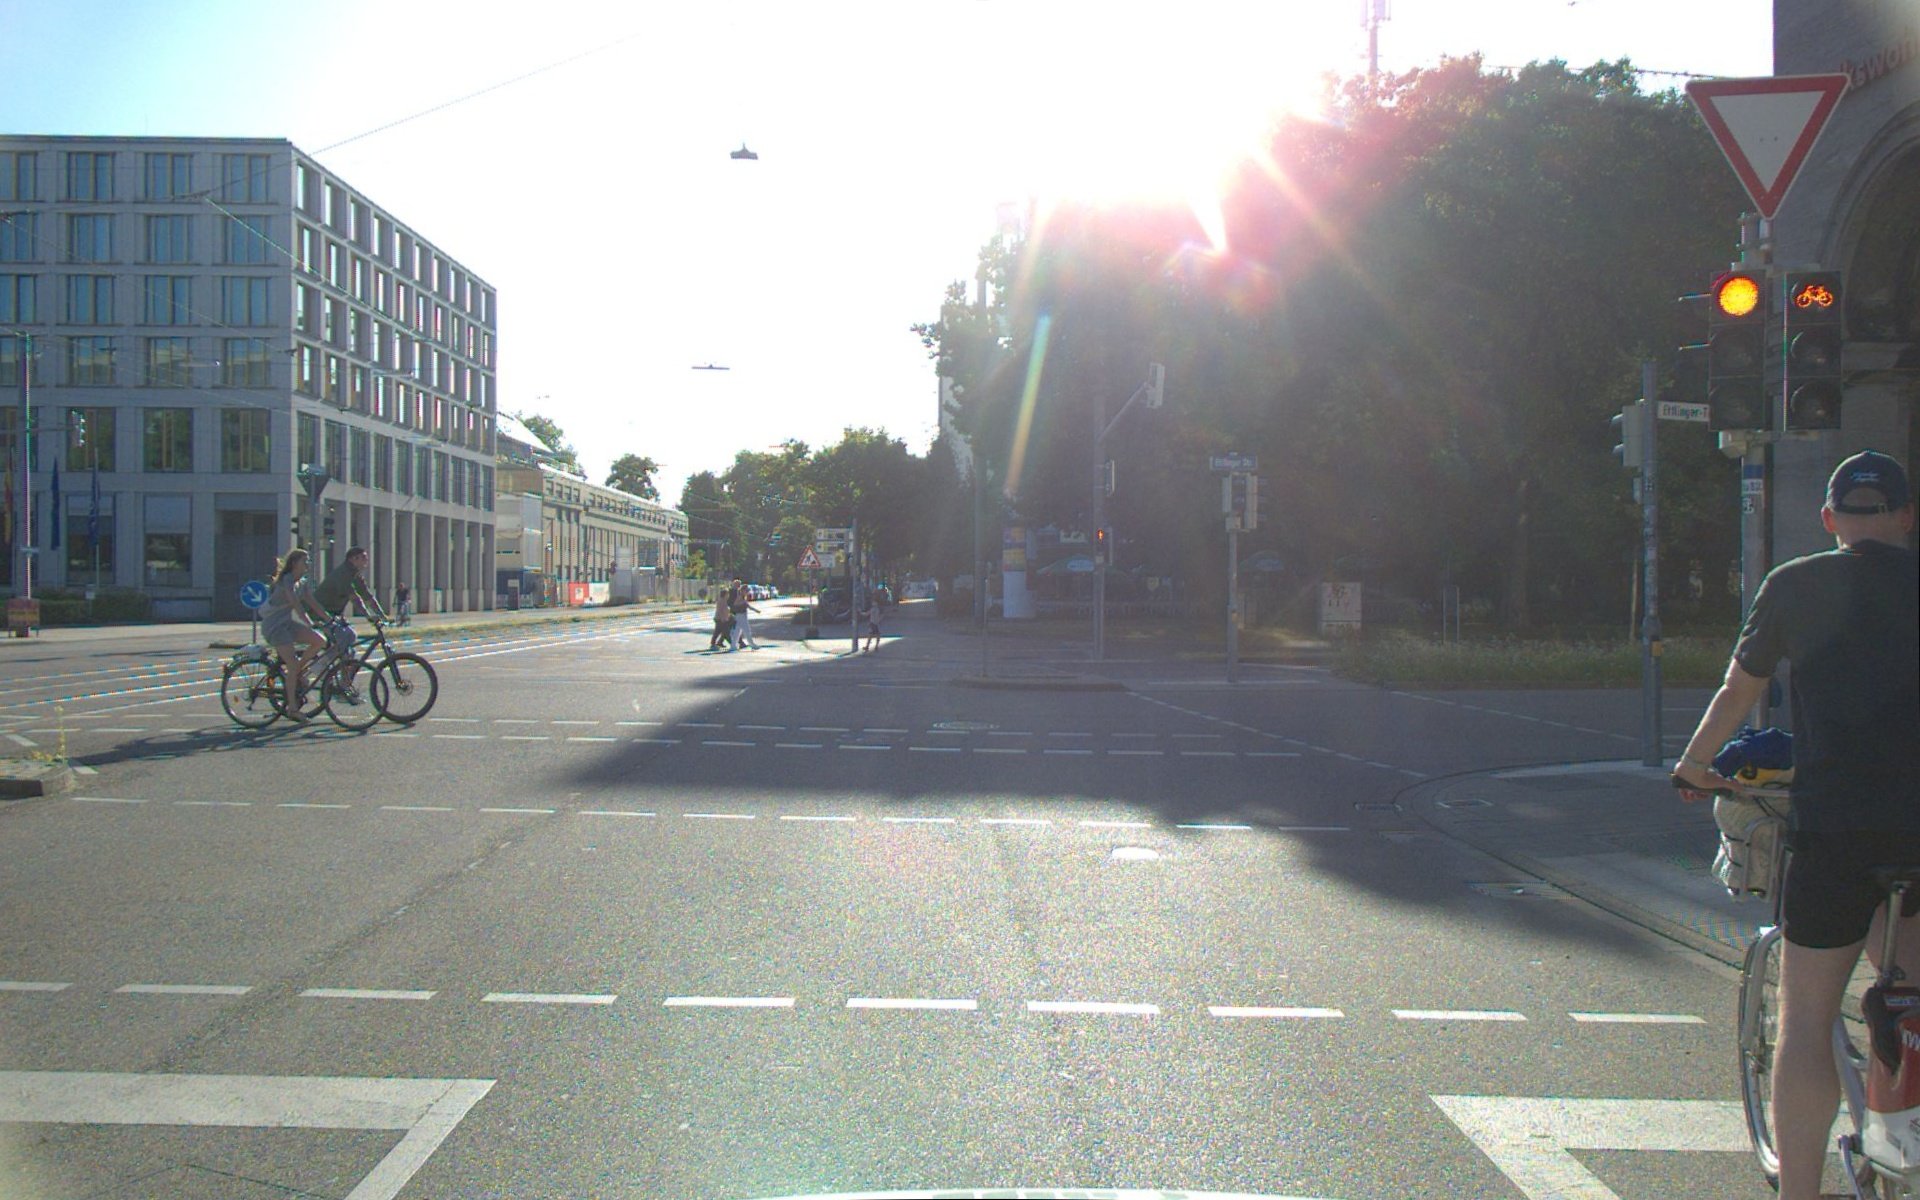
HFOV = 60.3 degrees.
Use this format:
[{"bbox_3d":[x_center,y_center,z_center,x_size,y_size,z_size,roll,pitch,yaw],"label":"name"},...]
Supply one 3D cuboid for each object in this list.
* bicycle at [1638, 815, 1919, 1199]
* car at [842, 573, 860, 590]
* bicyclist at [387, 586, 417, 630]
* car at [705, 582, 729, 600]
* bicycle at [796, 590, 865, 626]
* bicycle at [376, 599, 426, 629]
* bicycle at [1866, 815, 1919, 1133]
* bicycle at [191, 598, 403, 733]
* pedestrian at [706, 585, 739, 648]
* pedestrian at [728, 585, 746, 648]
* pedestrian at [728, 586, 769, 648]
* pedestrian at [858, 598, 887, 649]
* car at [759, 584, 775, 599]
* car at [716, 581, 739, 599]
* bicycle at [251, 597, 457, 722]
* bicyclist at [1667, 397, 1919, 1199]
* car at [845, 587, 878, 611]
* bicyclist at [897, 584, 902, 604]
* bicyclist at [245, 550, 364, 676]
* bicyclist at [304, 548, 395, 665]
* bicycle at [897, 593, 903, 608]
[{"bbox_3d":[2.096,1.109,3.971,0.381,0.921,1.952,0,0,8],"label":"bicycle"},{"bbox_3d":[-13.048,-2.208,198.600,1.953,2.049,3.999,0,0,-1],"label":"car"},{"bbox_3d":[-21.569,0.296,63.909,0.857,1.670,0.822,0,0,0],"label":"bicyclist"},{"bbox_3d":[-22.849,-0.866,155.585,1.695,1.682,3.999,0,0,-1],"label":"car"},{"bbox_3d":[-5.237,0.328,67.054,2.688,1.391,0.631,1,-1,10],"label":"bicycle"},{"bbox_3d":[-21.577,0.532,63.910,0.857,1.140,3.013,0,0,0],"label":"bicycle"},{"bbox_3d":[2.994,1.119,4.163,0.418,0.891,1.951,0,0,2],"label":"bicycle"},{"bbox_3d":[-6.667,0.644,16.707,1.814,1.314,0.791,0,0,-4],"label":"bicycle"},{"bbox_3d":[-6.274,0.429,43.680,0.779,1.668,0.533,0,0,2],"label":"pedestrian"},{"bbox_3d":[-6.054,0.436,44.852,0.432,1.692,0.376,0,0,-2],"label":"pedestrian"},{"bbox_3d":[-5.516,0.444,43.180,0.964,1.615,0.660,0,-1,1],"label":"pedestrian"},{"bbox_3d":[-2.345,0.628,44.402,0.737,1.356,0.742,0,0,0],"label":"pedestrian"},{"bbox_3d":[-22.667,-1.006,194.160,1.453,1.780,3.999,0,0,-1],"label":"car"},{"bbox_3d":[-22.451,-0.938,159.939,1.695,1.682,3.999,0,0,-1],"label":"car"},{"bbox_3d":[-6.561,0.627,17.978,1.945,1.314,0.791,0,0,-3],"label":"bicycle"},{"bbox_3d":[2.042,0.434,3.729,0.655,1.707,0.657,0,0,7],"label":"bicyclist"},{"bbox_3d":[-5.391,-0.061,90.746,1.783,1.301,3.998,0,0,-3],"label":"car"},{"bbox_3d":[-3.584,-0.352,98.313,0.312,1.147,0.291,0,0,-1],"label":"bicyclist"},{"bbox_3d":[-6.608,0.126,16.708,0.906,1.240,0.796,0,0,-4],"label":"bicyclist"},{"bbox_3d":[-6.622,0.069,17.978,0.706,1.240,0.797,0,0,-2],"label":"bicyclist"},{"bbox_3d":[-3.584,0.024,98.442,0.317,0.883,1.483,0,0,-1],"label":"bicycle"}]
